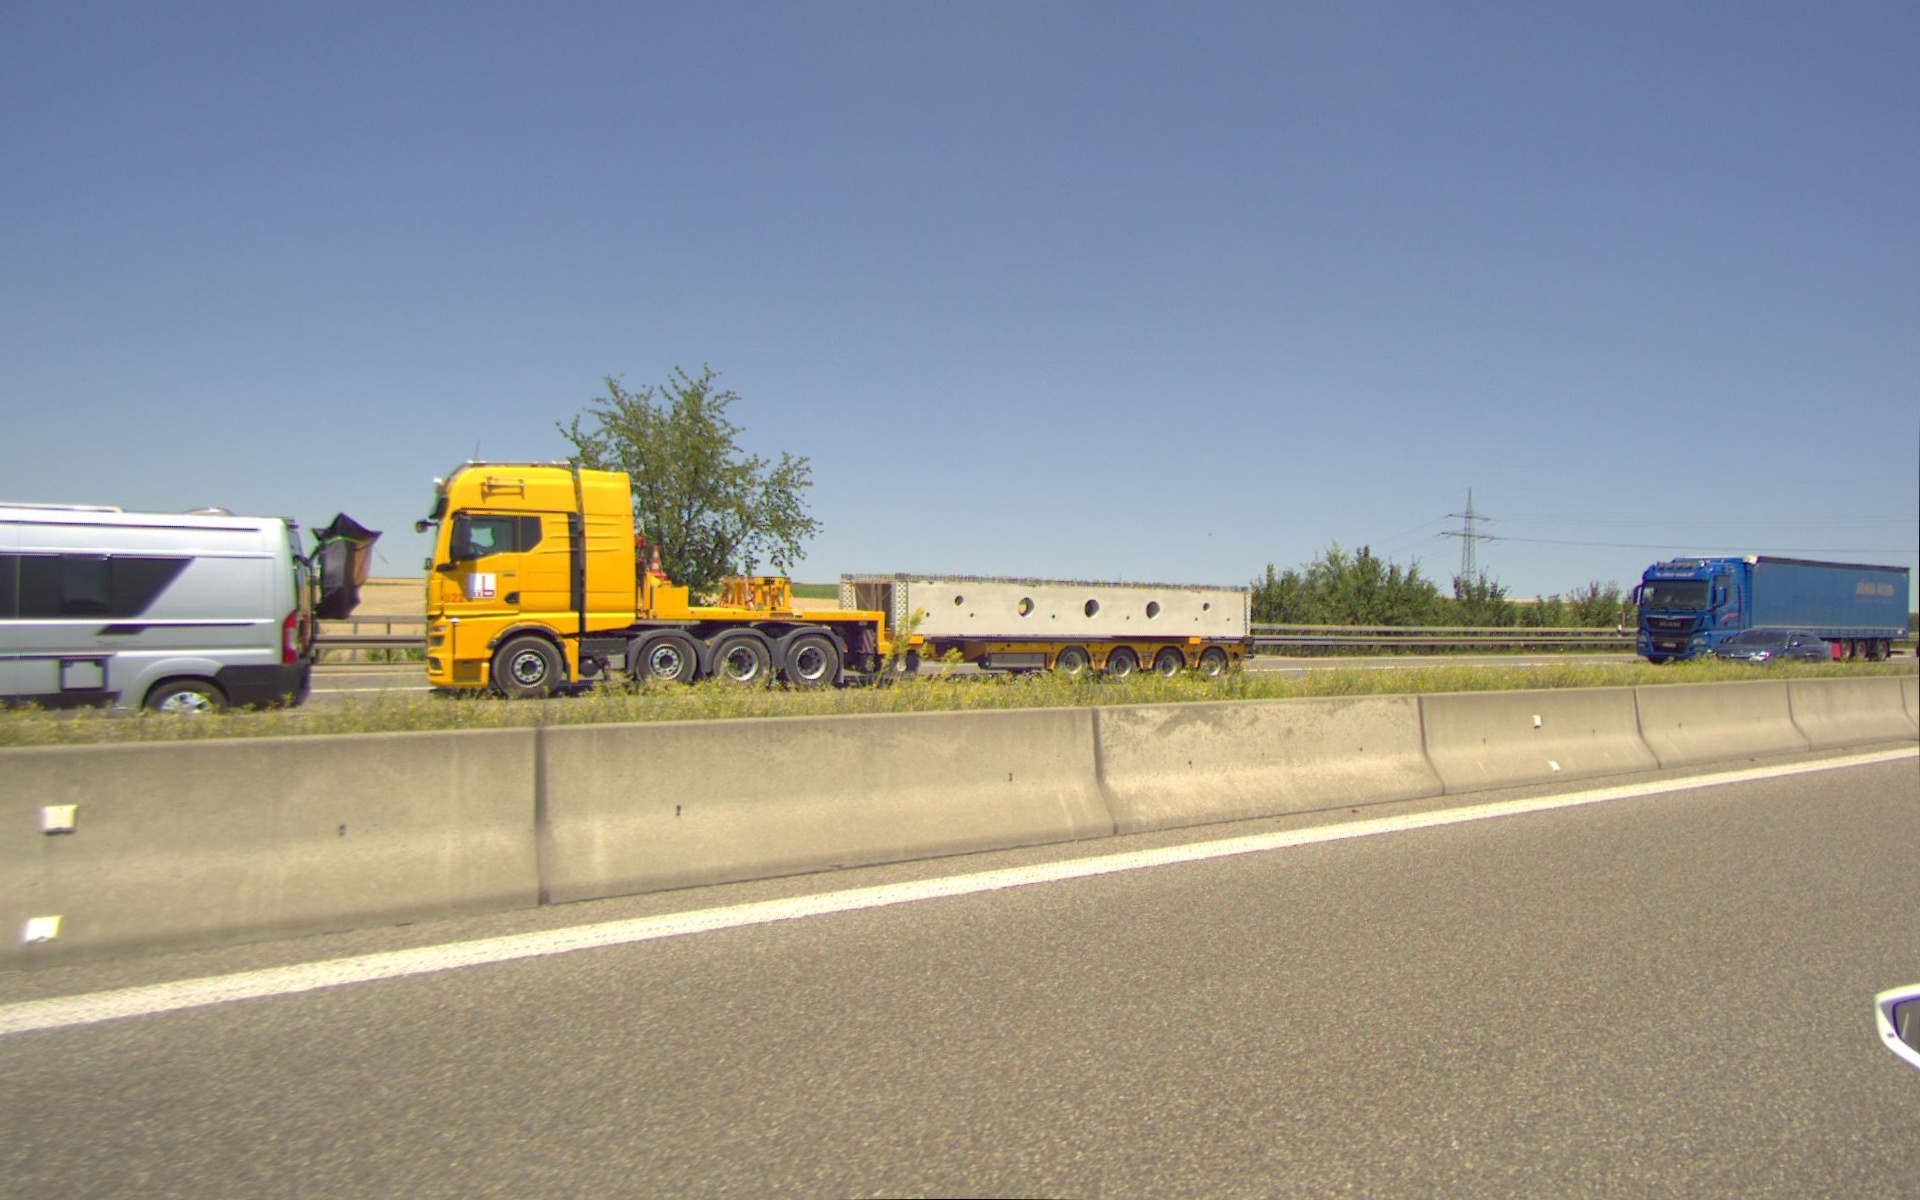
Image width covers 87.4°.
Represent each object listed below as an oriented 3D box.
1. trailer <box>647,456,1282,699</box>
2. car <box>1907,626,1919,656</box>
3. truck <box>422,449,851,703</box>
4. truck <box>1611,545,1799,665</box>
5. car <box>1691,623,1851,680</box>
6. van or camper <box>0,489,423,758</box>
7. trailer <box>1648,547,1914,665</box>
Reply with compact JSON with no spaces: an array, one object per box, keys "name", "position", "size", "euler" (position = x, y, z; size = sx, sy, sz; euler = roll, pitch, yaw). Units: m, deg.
[{"name":"trailer","position":[0.780,-0.264,21.918],"size":[14.205,4.155,2.940],"euler":[1,0,-29]},{"name":"car","position":[48.240,2.013,49.068],"size":[4.296,1.404,1.650],"euler":[1,0,-29]},{"name":"truck","position":[-5.770,-0.315,18.265],"size":[7.011,3.888,2.739],"euler":[1,0,-29]},{"name":"truck","position":[27.936,0.246,37.619],"size":[6.851,4.144,3.062],"euler":[1,0,-29]},{"name":"car","position":[24.785,1.540,30.650],"size":[5.675,1.562,1.904],"euler":[1,0,-30]},{"name":"van or camper","position":[-9.860,0.216,10.831],"size":[7.060,2.621,2.299],"euler":[2,0,-31]},{"name":"trailer","position":[33.533,0.368,40.688],"size":[14.203,4.250,3.148],"euler":[2,1,-29]}]
